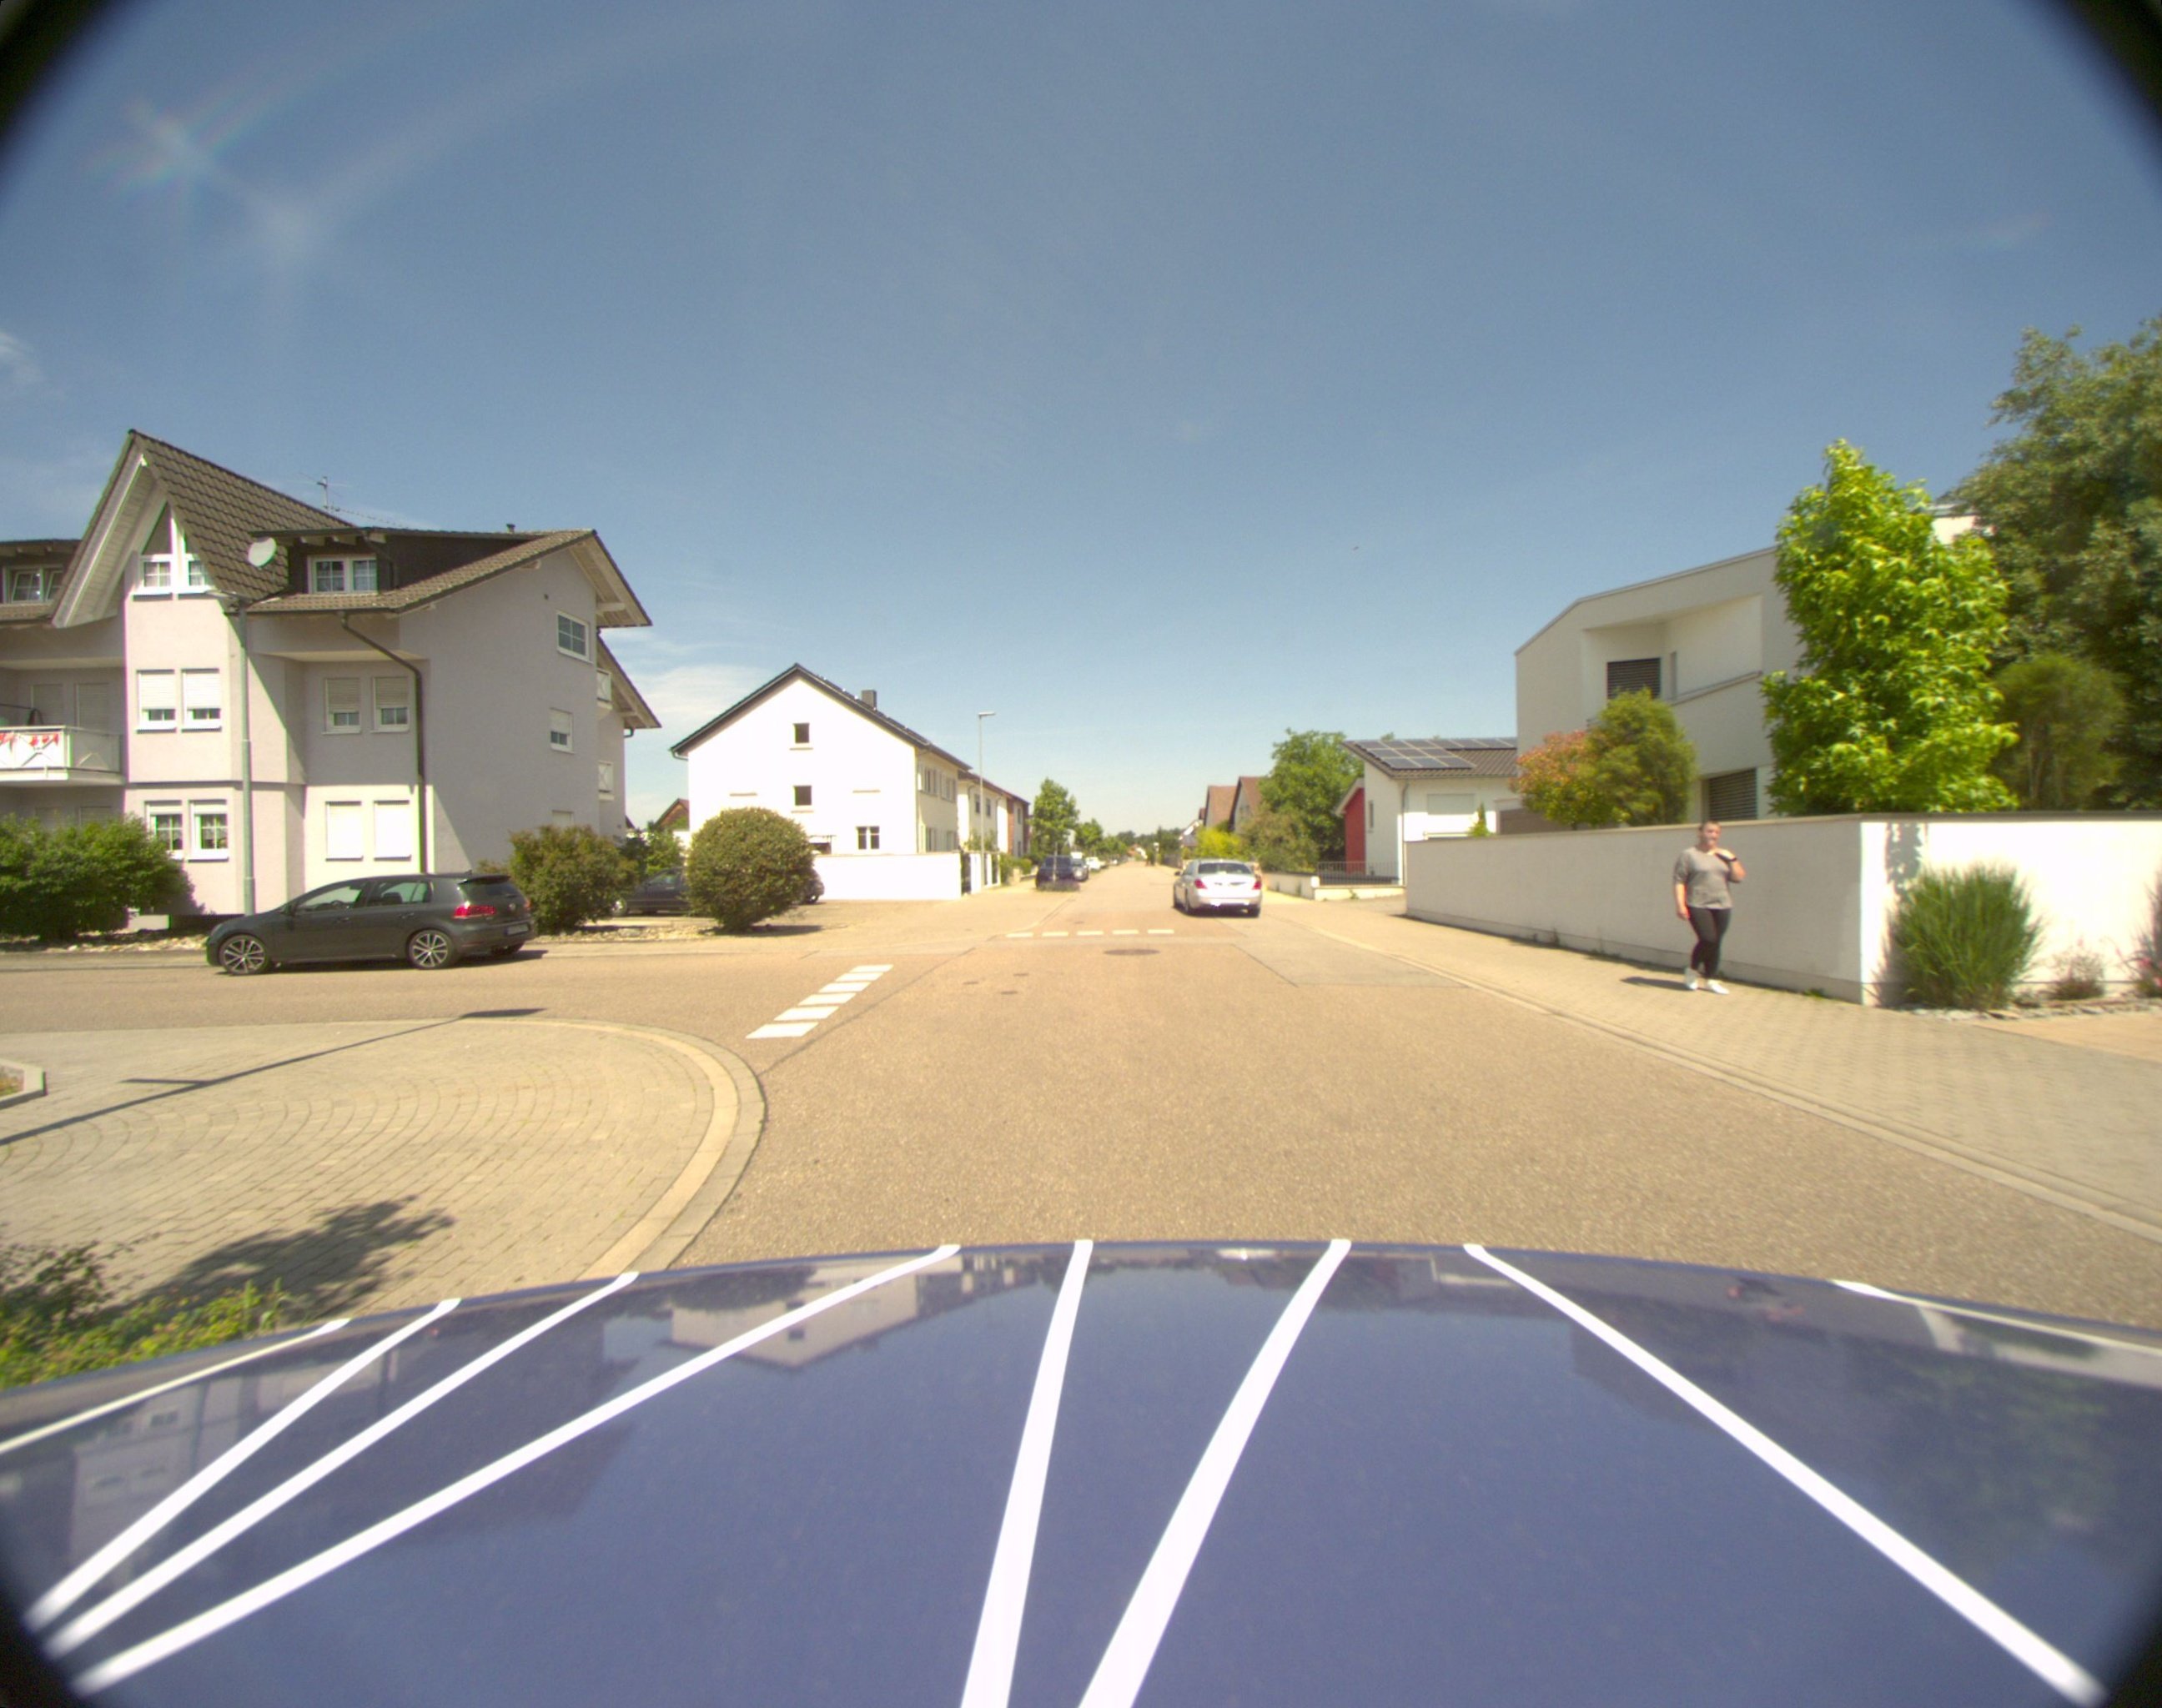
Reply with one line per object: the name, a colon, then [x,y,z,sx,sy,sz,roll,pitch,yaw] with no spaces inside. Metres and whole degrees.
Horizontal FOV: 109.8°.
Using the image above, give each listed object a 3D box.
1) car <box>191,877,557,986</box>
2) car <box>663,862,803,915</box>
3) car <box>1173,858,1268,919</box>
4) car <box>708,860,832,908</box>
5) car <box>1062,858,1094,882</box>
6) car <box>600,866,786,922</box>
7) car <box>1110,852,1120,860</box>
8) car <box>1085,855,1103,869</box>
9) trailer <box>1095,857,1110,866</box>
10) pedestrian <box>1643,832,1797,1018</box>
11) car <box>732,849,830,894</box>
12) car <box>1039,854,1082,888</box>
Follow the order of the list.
car: [-11.015,1.158,12.105,4.003,1.459,1.755,-1,0,-5]
car: [-10.541,1.011,23.194,3.453,1.486,1.664,-1,0,-1]
car: [3.705,0.864,21.014,1.857,1.469,4.700,1,0,1]
car: [-10.476,0.993,25.803,3.509,1.487,1.664,-1,0,-3]
car: [-0.150,1.015,49.251,1.818,1.412,4.094,-1,0,4]
car: [-10.514,1.064,20.788,4.212,1.366,1.664,-1,0,-1]
car: [6.793,0.442,150.861,1.597,1.630,3.804,-1,0,7]
car: [1.441,0.841,82.106,1.818,1.412,3.868,-1,0,3]
trailer: [2.719,0.952,96.695,1.791,1.052,2.899,-1,0,4]
pedestrian: [6.399,0.677,7.663,0.716,1.737,0.961,-2,1,3]
car: [-12.571,0.722,31.973,3.394,1.801,1.771,-1,0,2]
car: [-1.007,0.836,39.709,1.818,1.646,4.566,-1,0,4]
